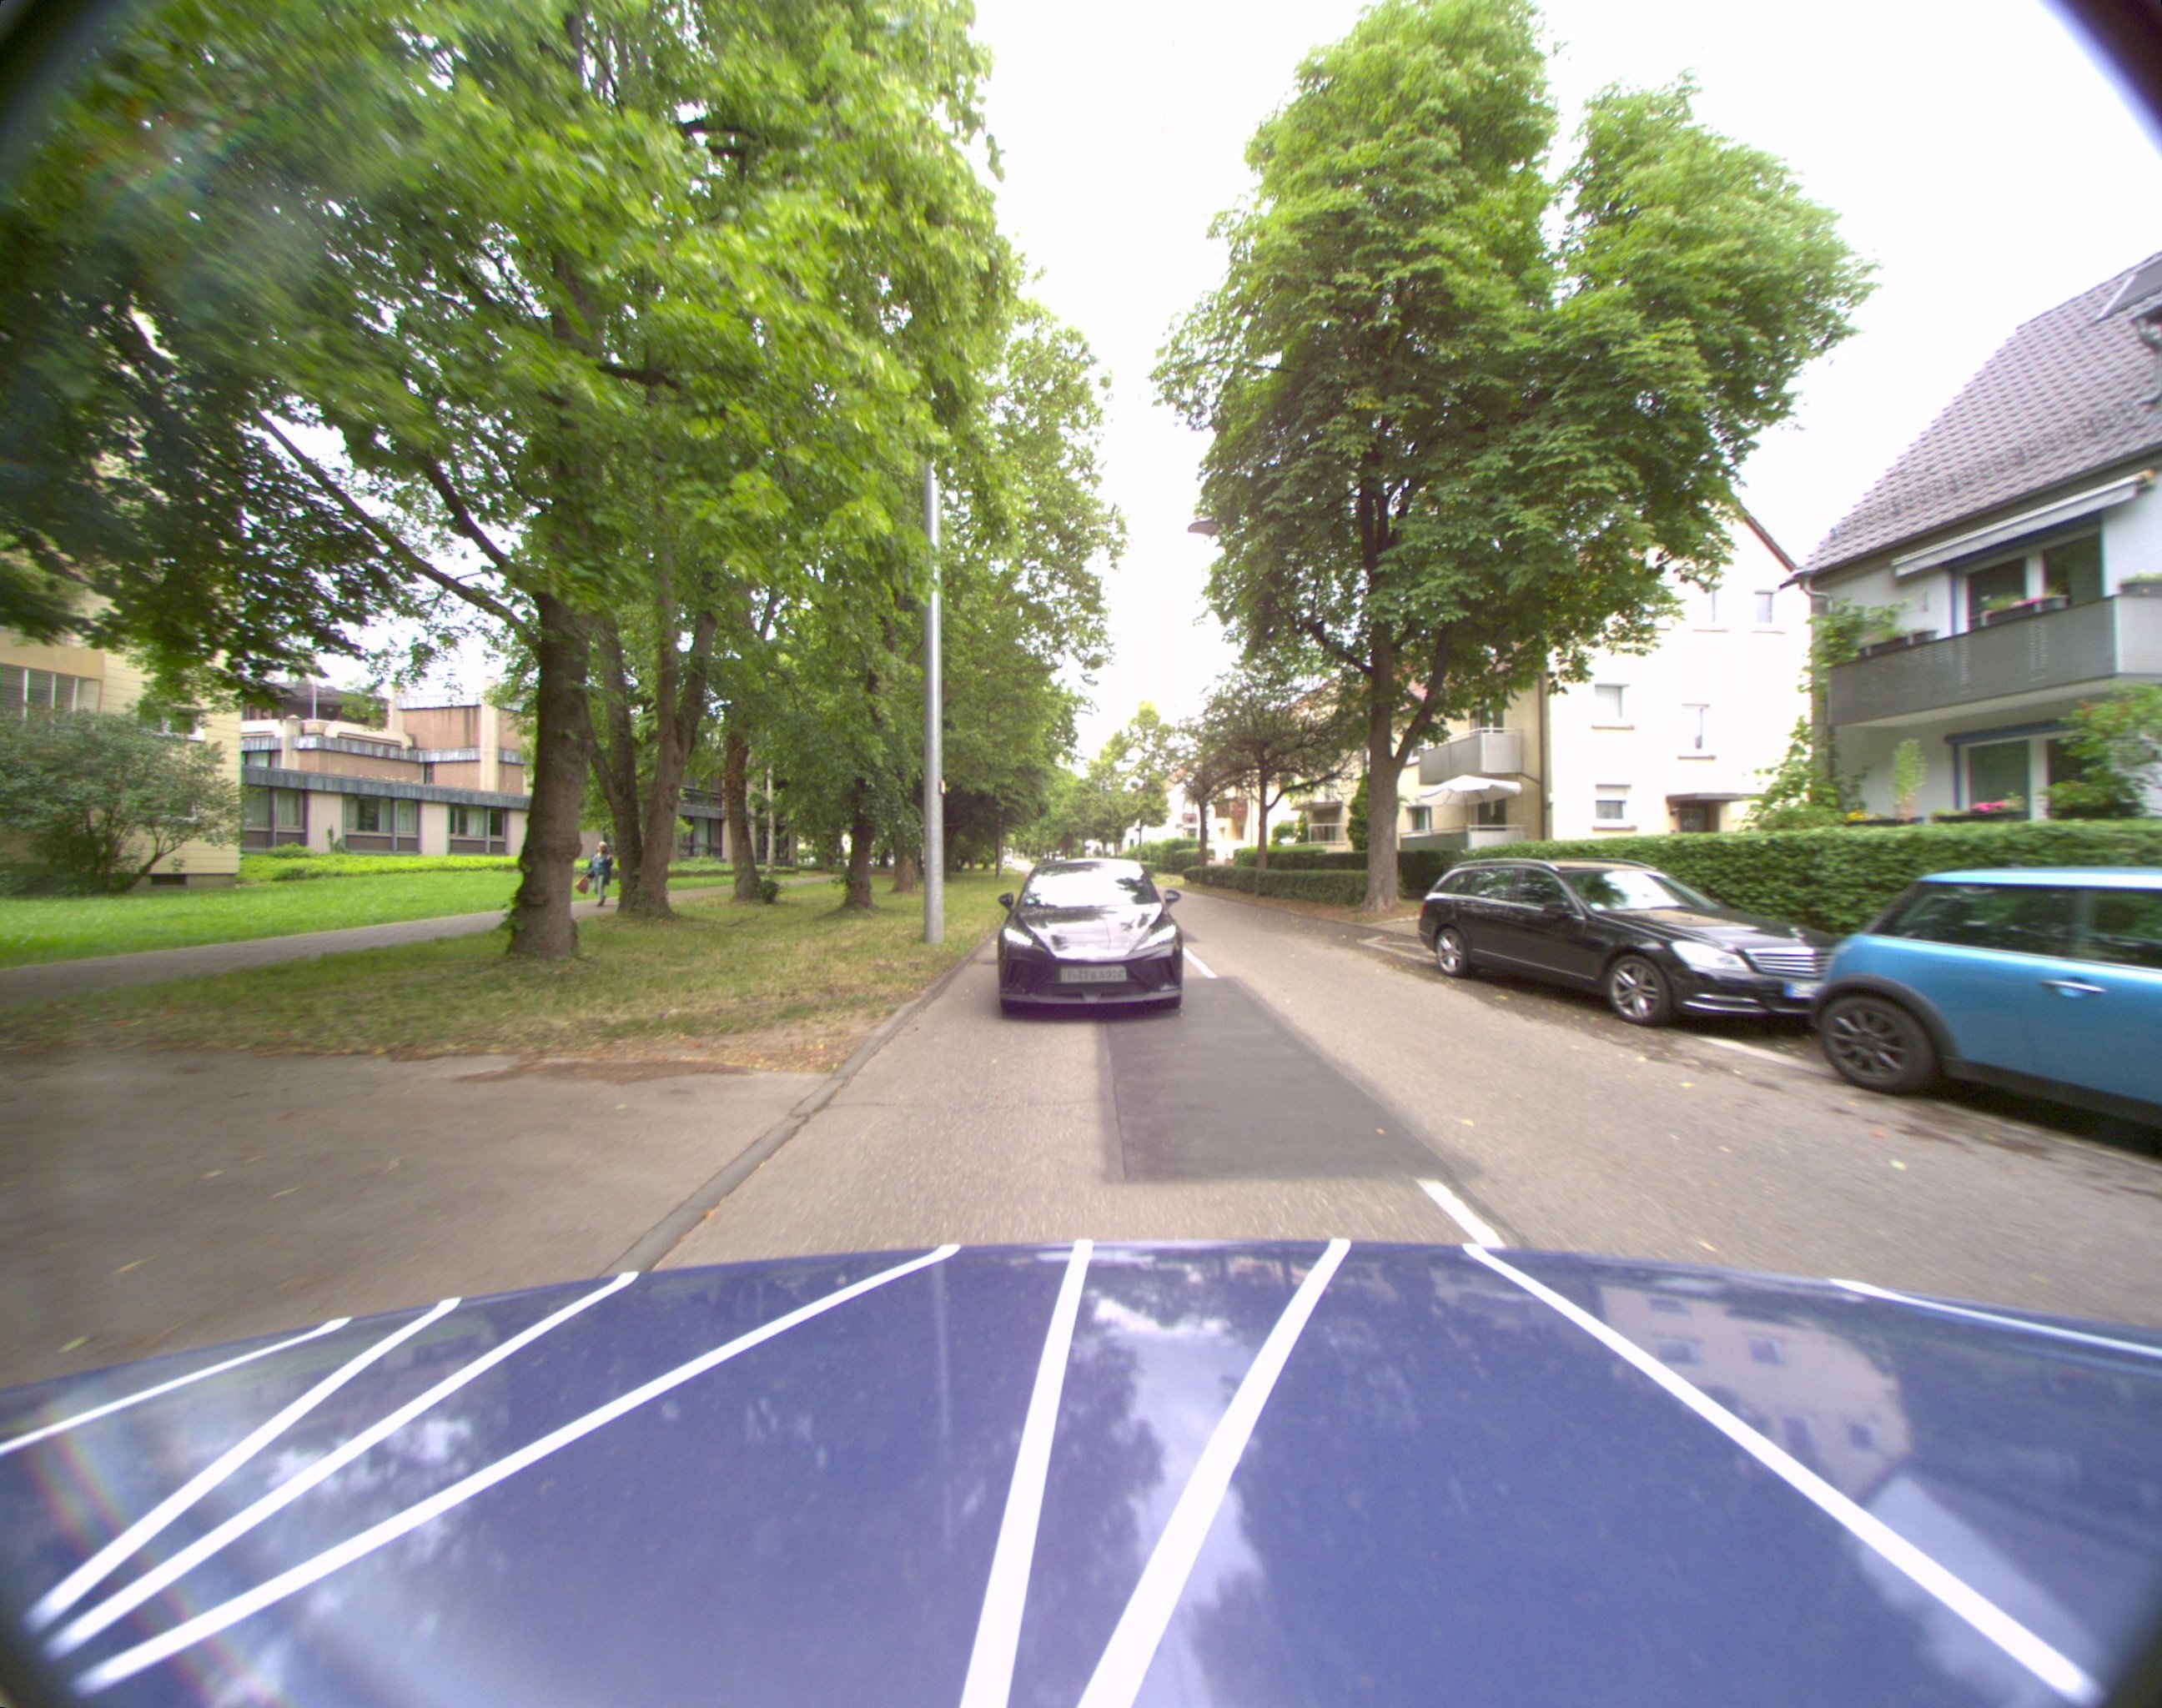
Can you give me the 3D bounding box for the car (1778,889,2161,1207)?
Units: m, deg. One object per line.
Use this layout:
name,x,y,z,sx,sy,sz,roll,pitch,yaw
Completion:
car,5.807,0.937,3.451,1.669,1.383,3.704,1,0,-6

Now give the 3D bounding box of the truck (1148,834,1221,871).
truck,9.021,-0.124,66.566,5.814,3.112,2.516,-1,0,-7

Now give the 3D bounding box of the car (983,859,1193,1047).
car,0.051,0.879,8.871,1.799,1.552,4.471,-1,0,0

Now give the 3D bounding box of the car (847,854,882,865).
car,-28.316,0.714,99.269,1.795,1.501,4.009,-1,-1,44

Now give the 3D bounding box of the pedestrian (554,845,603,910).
pedestrian,-13.153,0.605,19.918,0.770,1.676,0.814,1,0,-5

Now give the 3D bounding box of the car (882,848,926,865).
car,-24.108,0.324,103.387,5.337,2.285,2.286,0,-1,-39

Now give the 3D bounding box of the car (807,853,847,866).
car,-31.859,0.702,95.394,1.795,1.501,4.614,-1,-1,39

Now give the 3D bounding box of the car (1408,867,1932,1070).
car,5.495,0.907,8.020,1.800,1.463,4.415,1,0,-6
